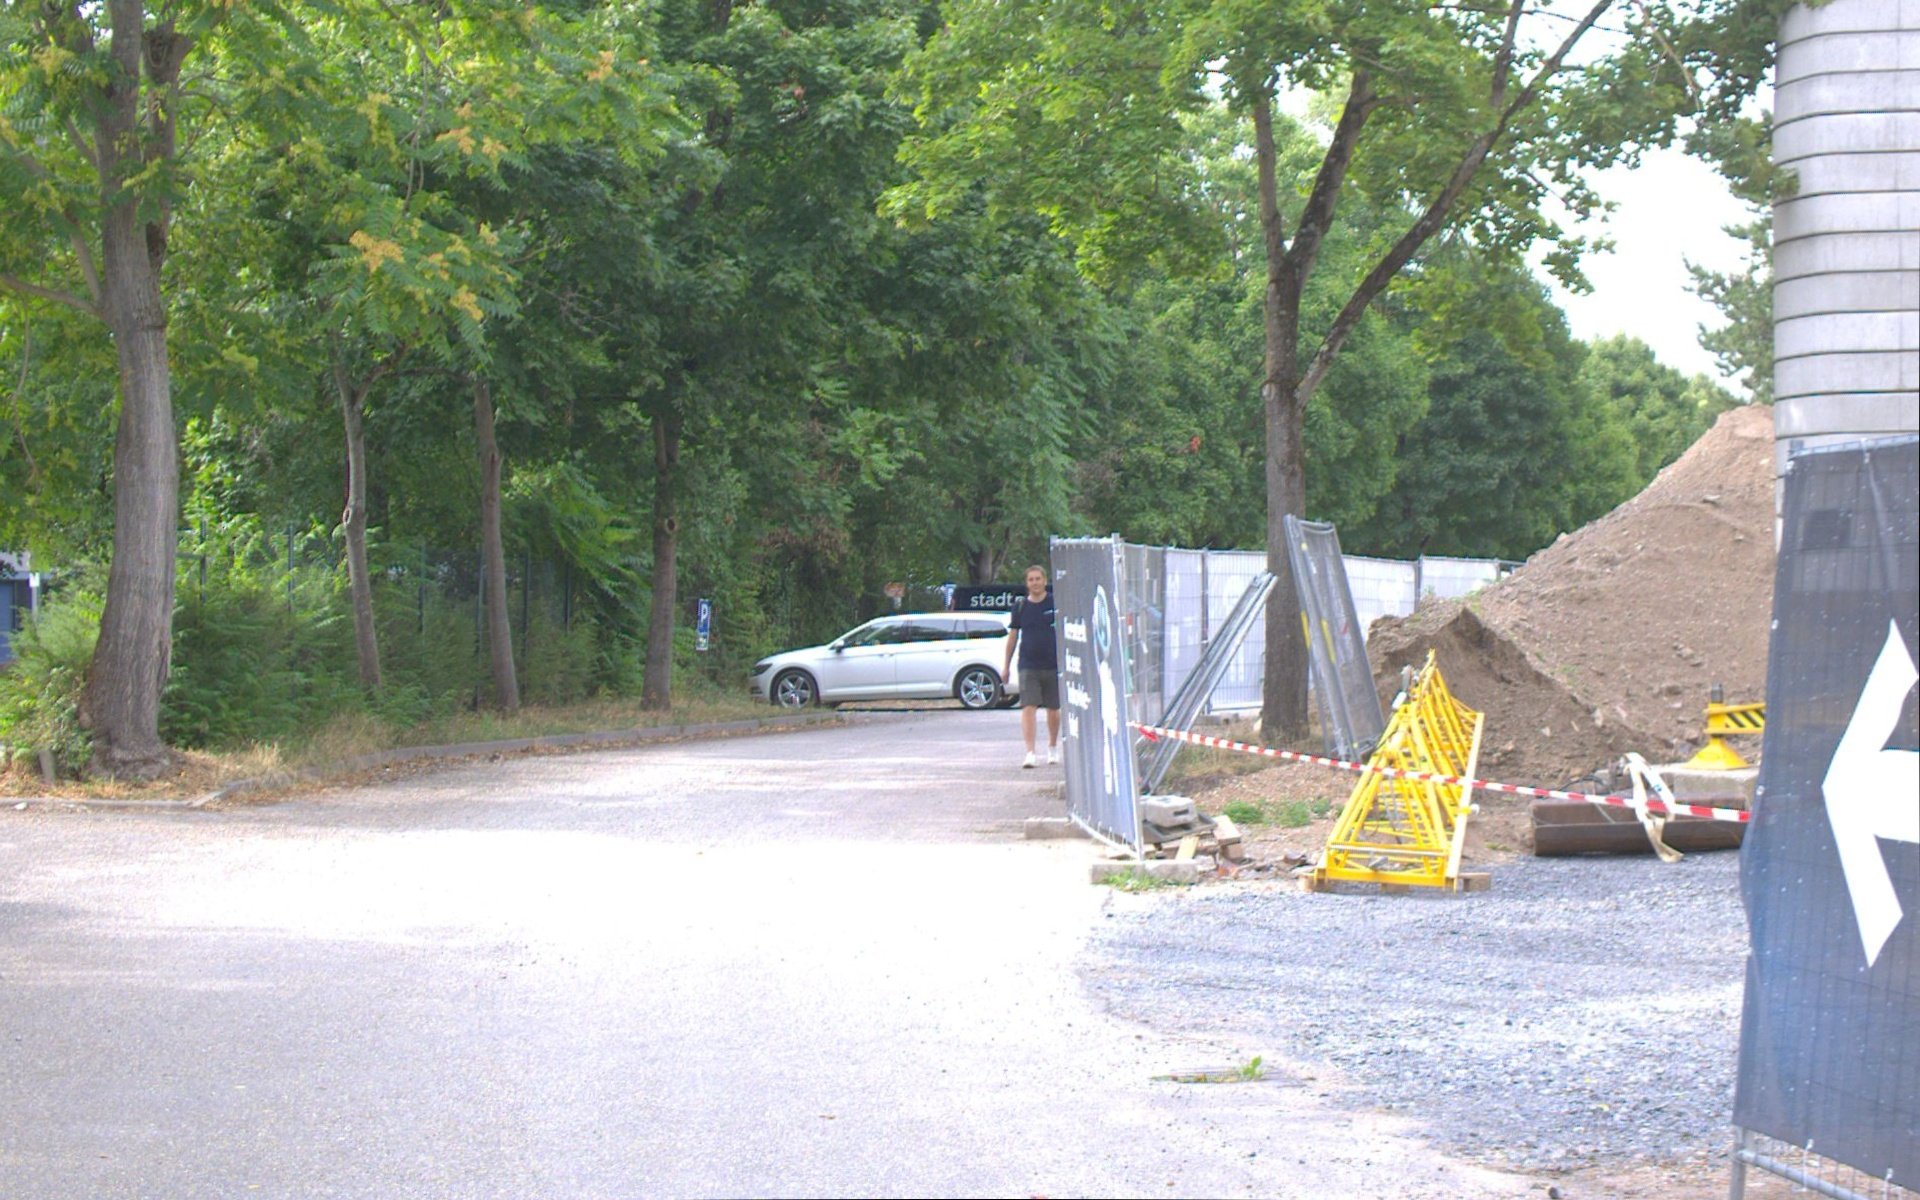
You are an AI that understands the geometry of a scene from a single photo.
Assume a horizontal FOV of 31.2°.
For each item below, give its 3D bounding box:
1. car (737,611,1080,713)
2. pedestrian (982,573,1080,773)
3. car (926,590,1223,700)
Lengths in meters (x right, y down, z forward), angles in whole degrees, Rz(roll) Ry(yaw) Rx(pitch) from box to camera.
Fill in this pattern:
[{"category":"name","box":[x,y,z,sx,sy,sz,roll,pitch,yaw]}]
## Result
[{"category":"car","box":[-0.750,0.911,51.432,4.795,1.483,1.999,0,-1,13]},{"category":"pedestrian","box":[0.645,0.654,31.053,0.748,1.784,0.730,0,-1,13]},{"category":"car","box":[2.086,0.811,62.462,5.049,1.947,1.998,0,-1,17]}]
